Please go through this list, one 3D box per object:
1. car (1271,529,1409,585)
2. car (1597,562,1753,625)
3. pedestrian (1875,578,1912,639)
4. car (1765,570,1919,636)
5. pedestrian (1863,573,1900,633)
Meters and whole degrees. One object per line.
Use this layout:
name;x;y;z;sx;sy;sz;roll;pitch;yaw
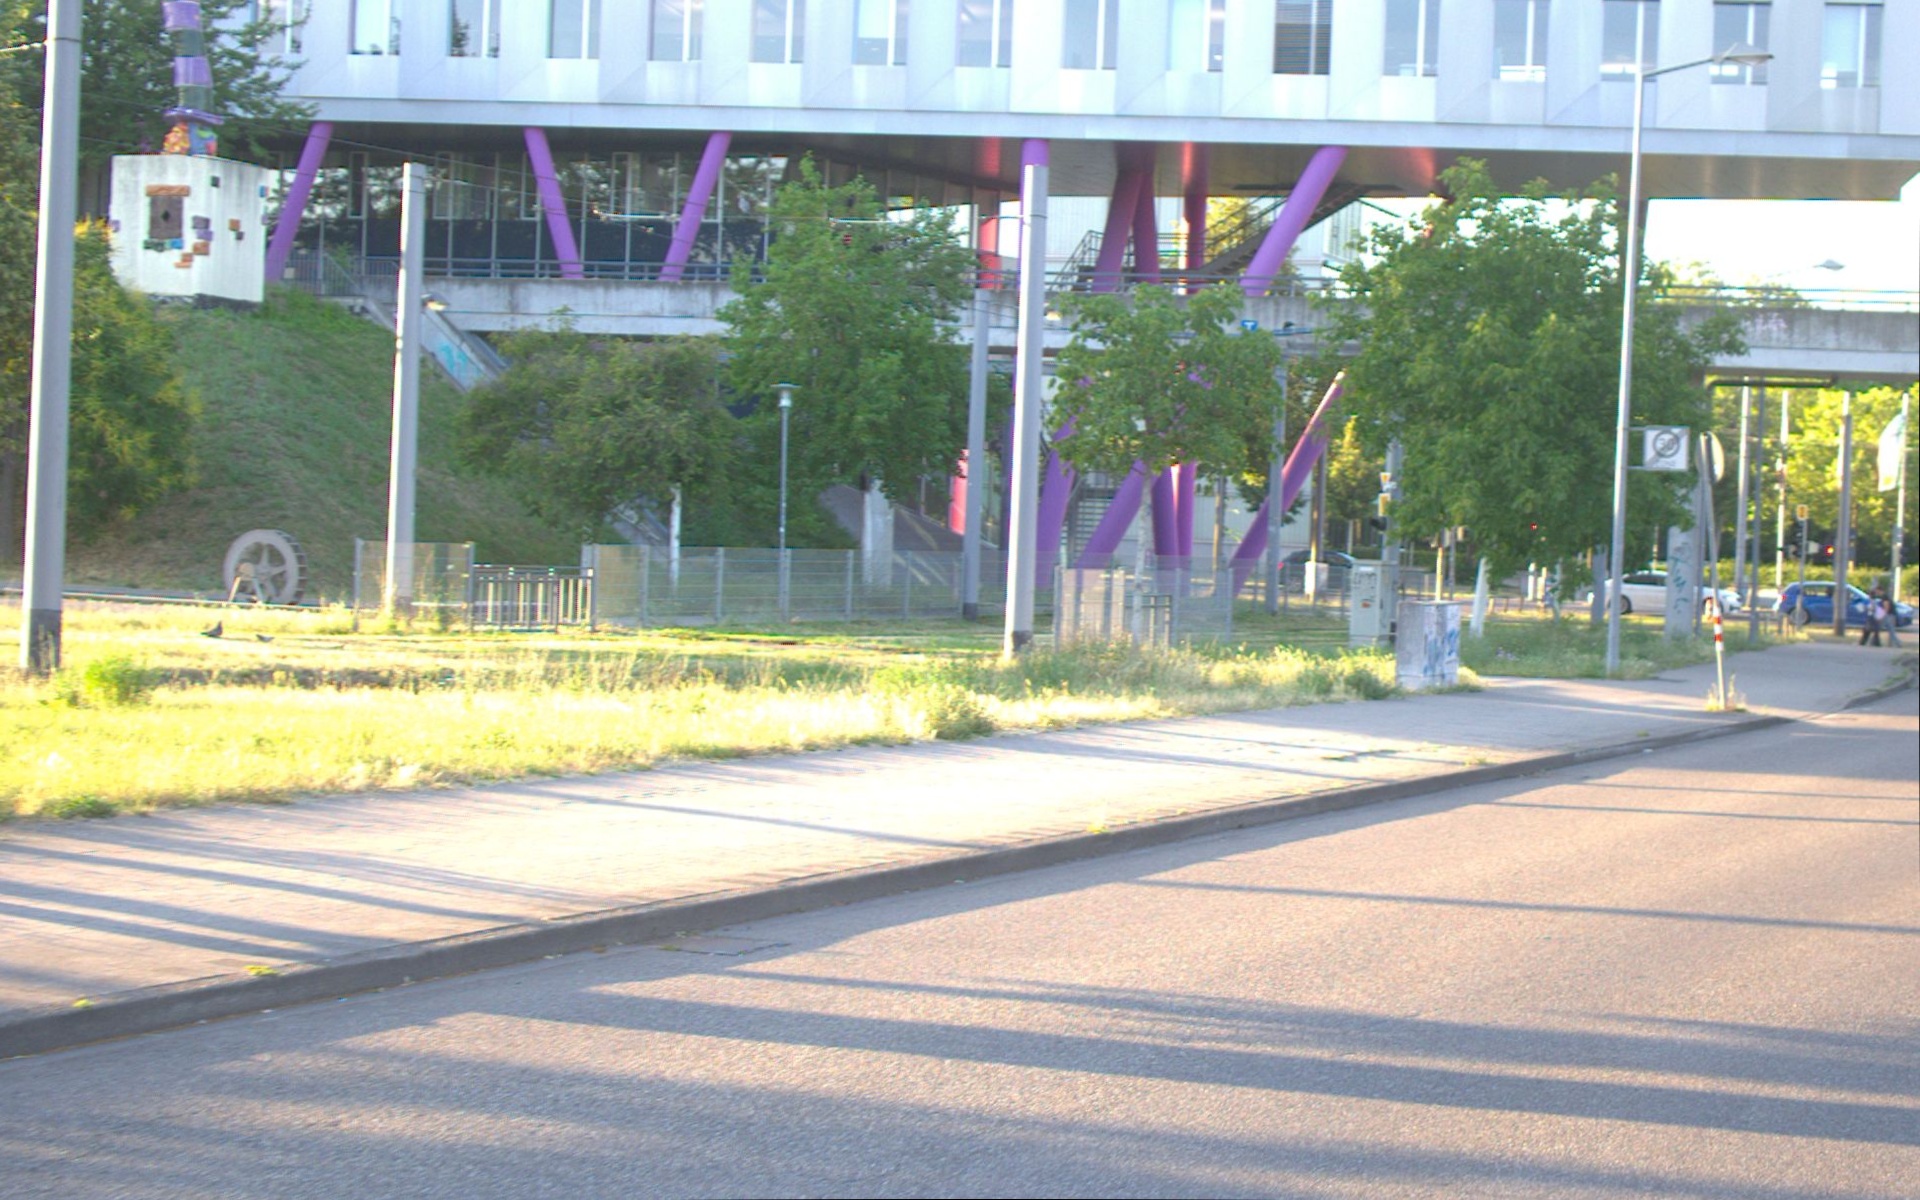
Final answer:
car;13.609;-1.553;123.066;4.472;1.810;1.943;3;2;21
car;23.563;-0.235;113.299;4.693;1.822;1.832;3;2;23
pedestrian;26.022;0.245;95.839;0.702;1.658;0.710;4;3;39
car;27.905;0.077;108.687;4.716;1.822;1.891;3;2;13
pedestrian;25.518;0.090;95.244;0.687;1.618;0.710;4;3;39
